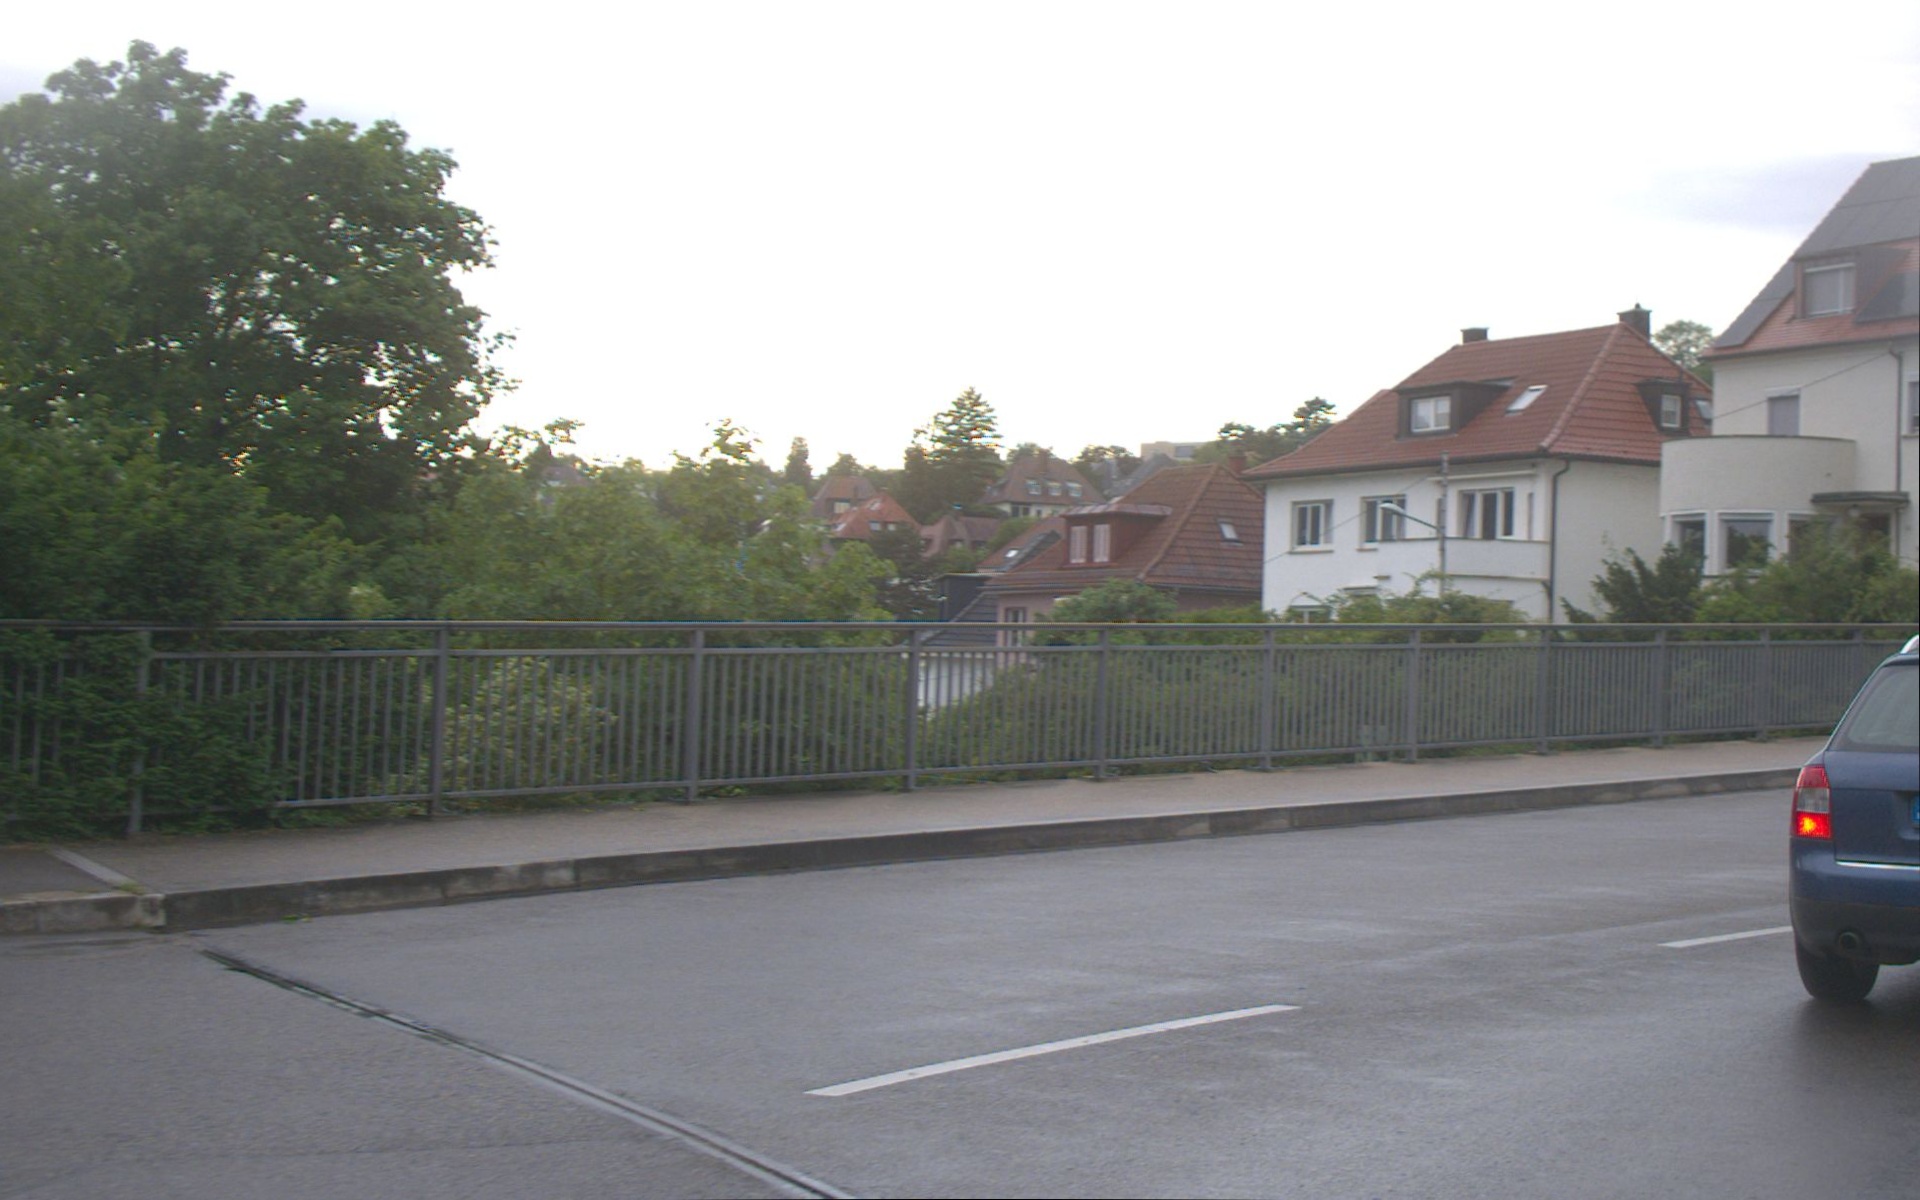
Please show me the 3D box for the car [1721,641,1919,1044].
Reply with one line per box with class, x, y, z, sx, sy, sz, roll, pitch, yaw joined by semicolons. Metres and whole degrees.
car;4.563;0.894;13.714;1.750;1.403;3.993;1;-1;32
